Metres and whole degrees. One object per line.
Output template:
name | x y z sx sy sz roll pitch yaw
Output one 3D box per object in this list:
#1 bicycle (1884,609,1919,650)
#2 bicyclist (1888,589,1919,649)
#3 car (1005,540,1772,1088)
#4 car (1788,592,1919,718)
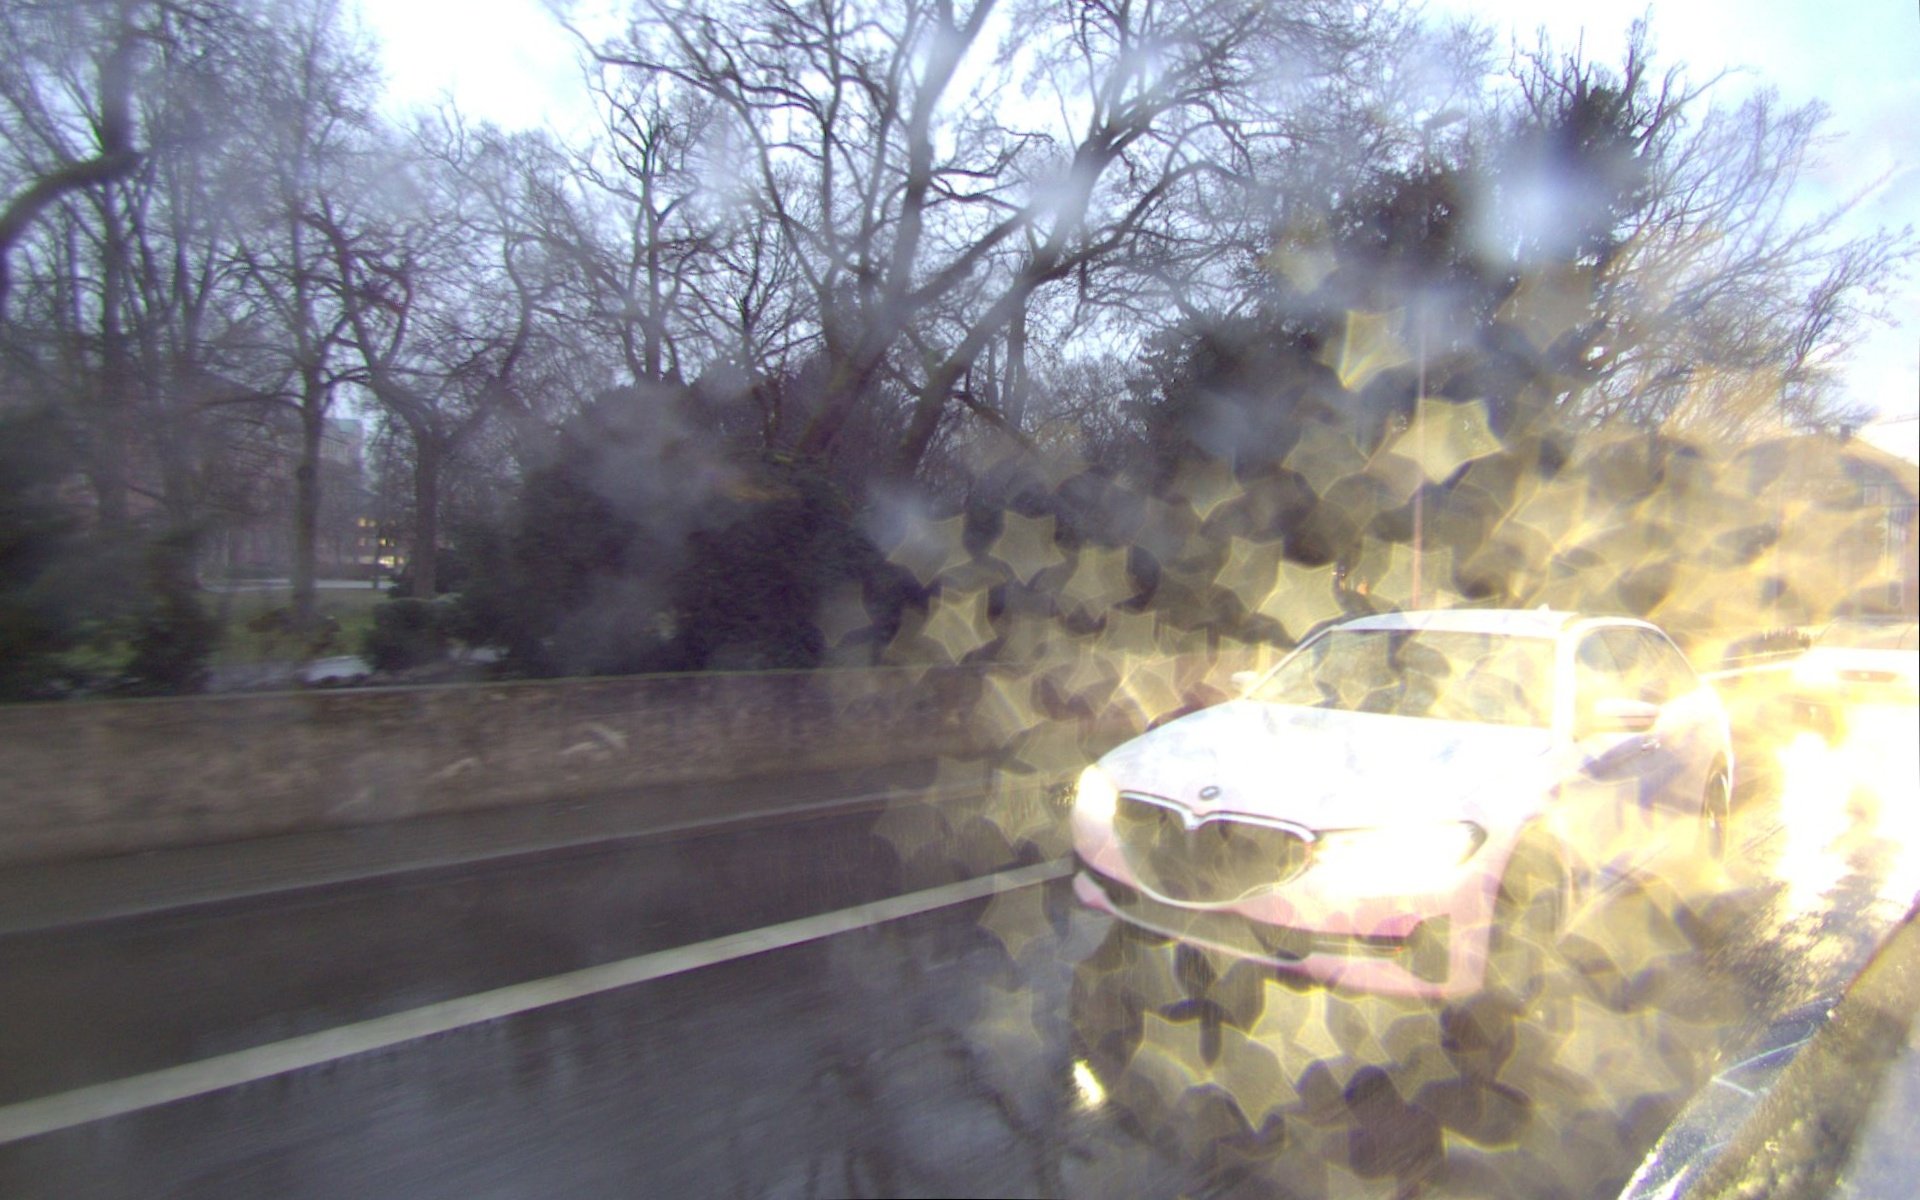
bicycle | 36.045 1.094 38.528 3.332 1.469 0.966 0 0 -42
bicyclist | 36.150 0.699 38.648 0.919 2.251 0.966 0 -1 -42
car | 2.597 0.591 5.260 4.855 1.575 1.865 0 2 -44
car | 13.709 0.730 14.707 4.097 1.580 1.885 1 2 -41
